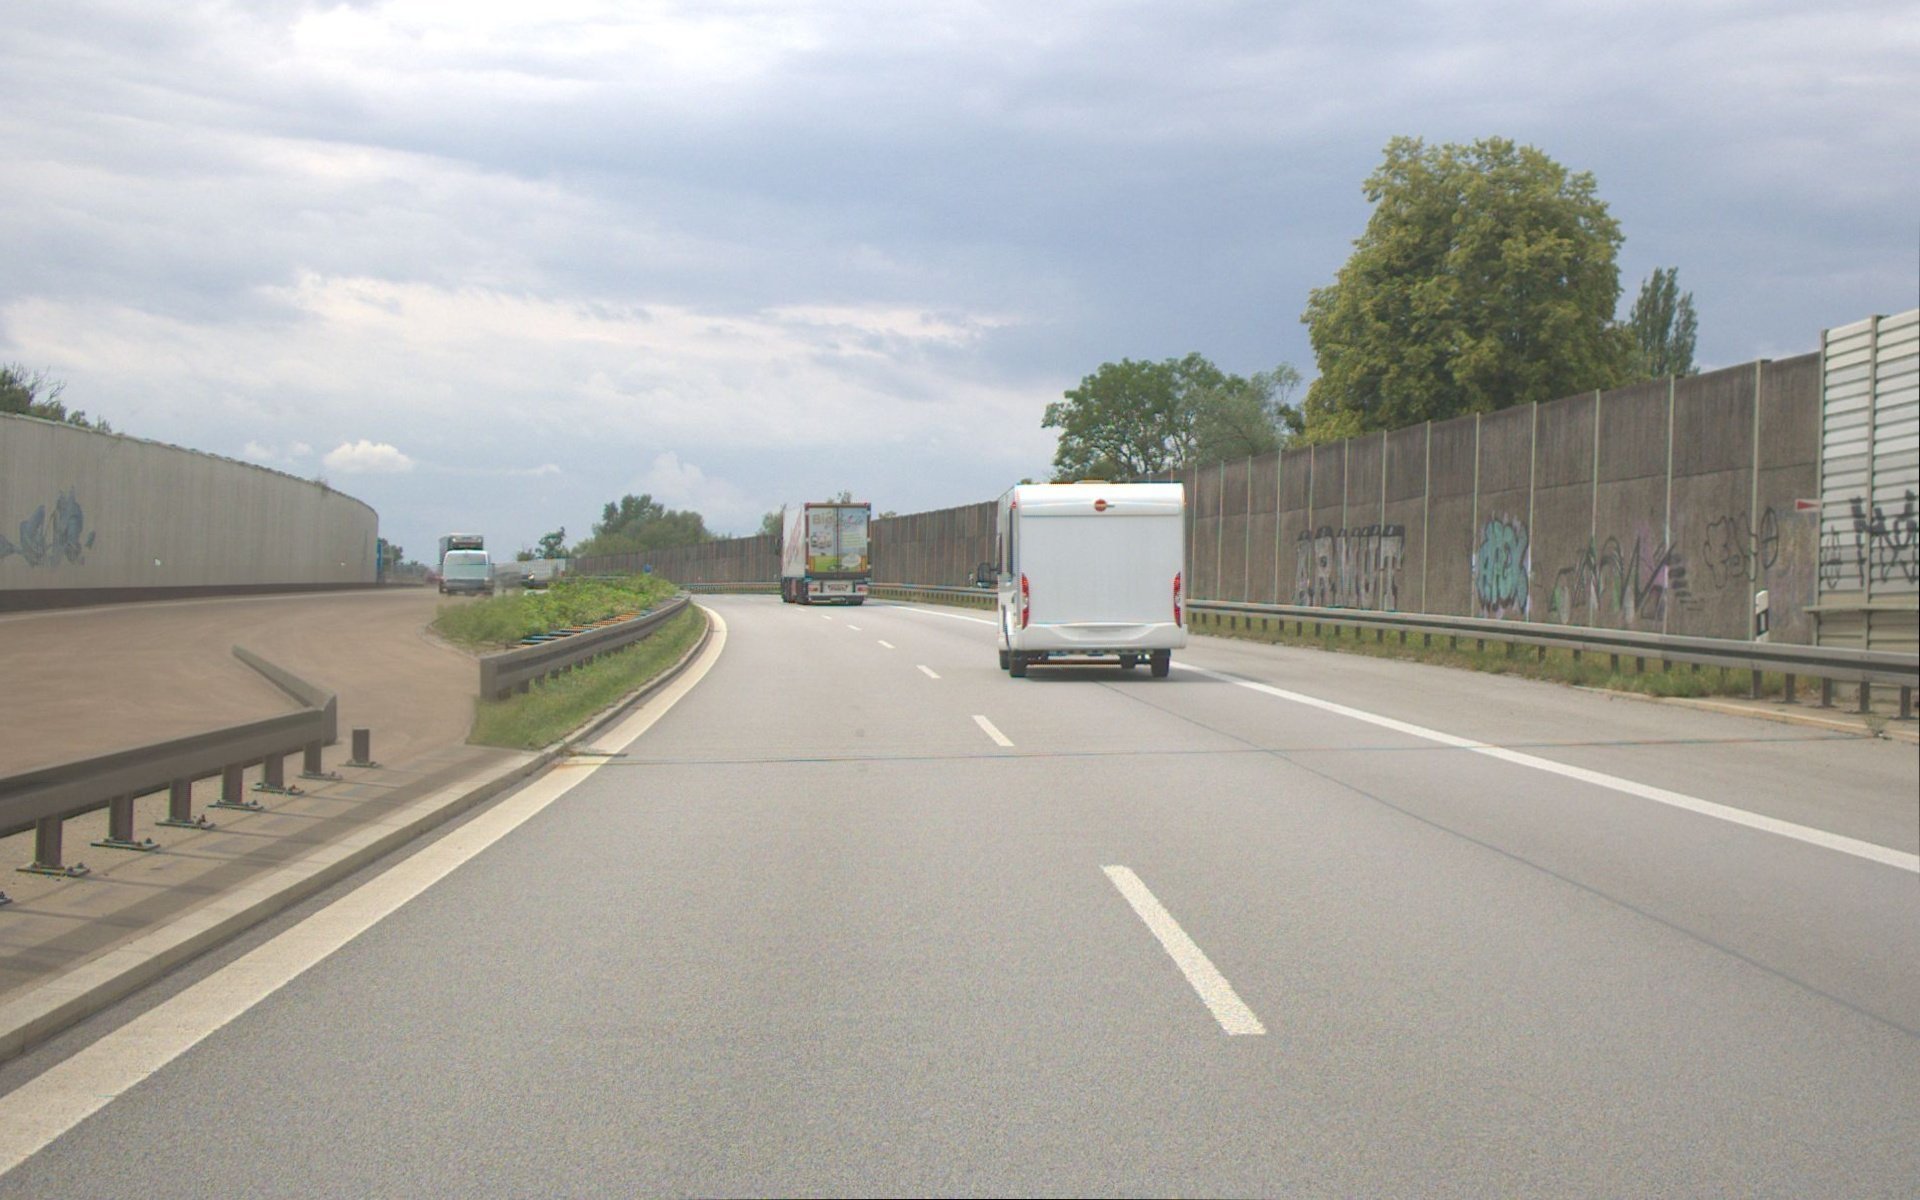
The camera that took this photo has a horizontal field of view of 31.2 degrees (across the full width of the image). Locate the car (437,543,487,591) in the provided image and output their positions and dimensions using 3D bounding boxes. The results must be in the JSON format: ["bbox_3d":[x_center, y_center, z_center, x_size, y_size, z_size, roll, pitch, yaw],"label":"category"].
[{"bbox_3d":[-18.244,-1.220,126.115,1.741,1.738,4.628,0,1,-8],"label":"car"}]

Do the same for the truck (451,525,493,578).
[{"bbox_3d":[-36.039,-3.589,253.851,2.873,3.845,6.076,-1,1,-7],"label":"truck"}]

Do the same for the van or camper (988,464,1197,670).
[{"bbox_3d":[1.787,-0.465,49.089,2.429,2.687,7.226,1,0,-2],"label":"van or camper"}]

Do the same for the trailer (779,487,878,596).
[{"bbox_3d":[-5.510,-2.277,141.044,2.792,4.161,14.106,0,0,-7],"label":"trailer"}]

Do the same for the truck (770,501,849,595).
[{"bbox_3d":[-6.485,-2.189,147.439,2.755,3.946,5.678,0,0,-9],"label":"truck"}]
